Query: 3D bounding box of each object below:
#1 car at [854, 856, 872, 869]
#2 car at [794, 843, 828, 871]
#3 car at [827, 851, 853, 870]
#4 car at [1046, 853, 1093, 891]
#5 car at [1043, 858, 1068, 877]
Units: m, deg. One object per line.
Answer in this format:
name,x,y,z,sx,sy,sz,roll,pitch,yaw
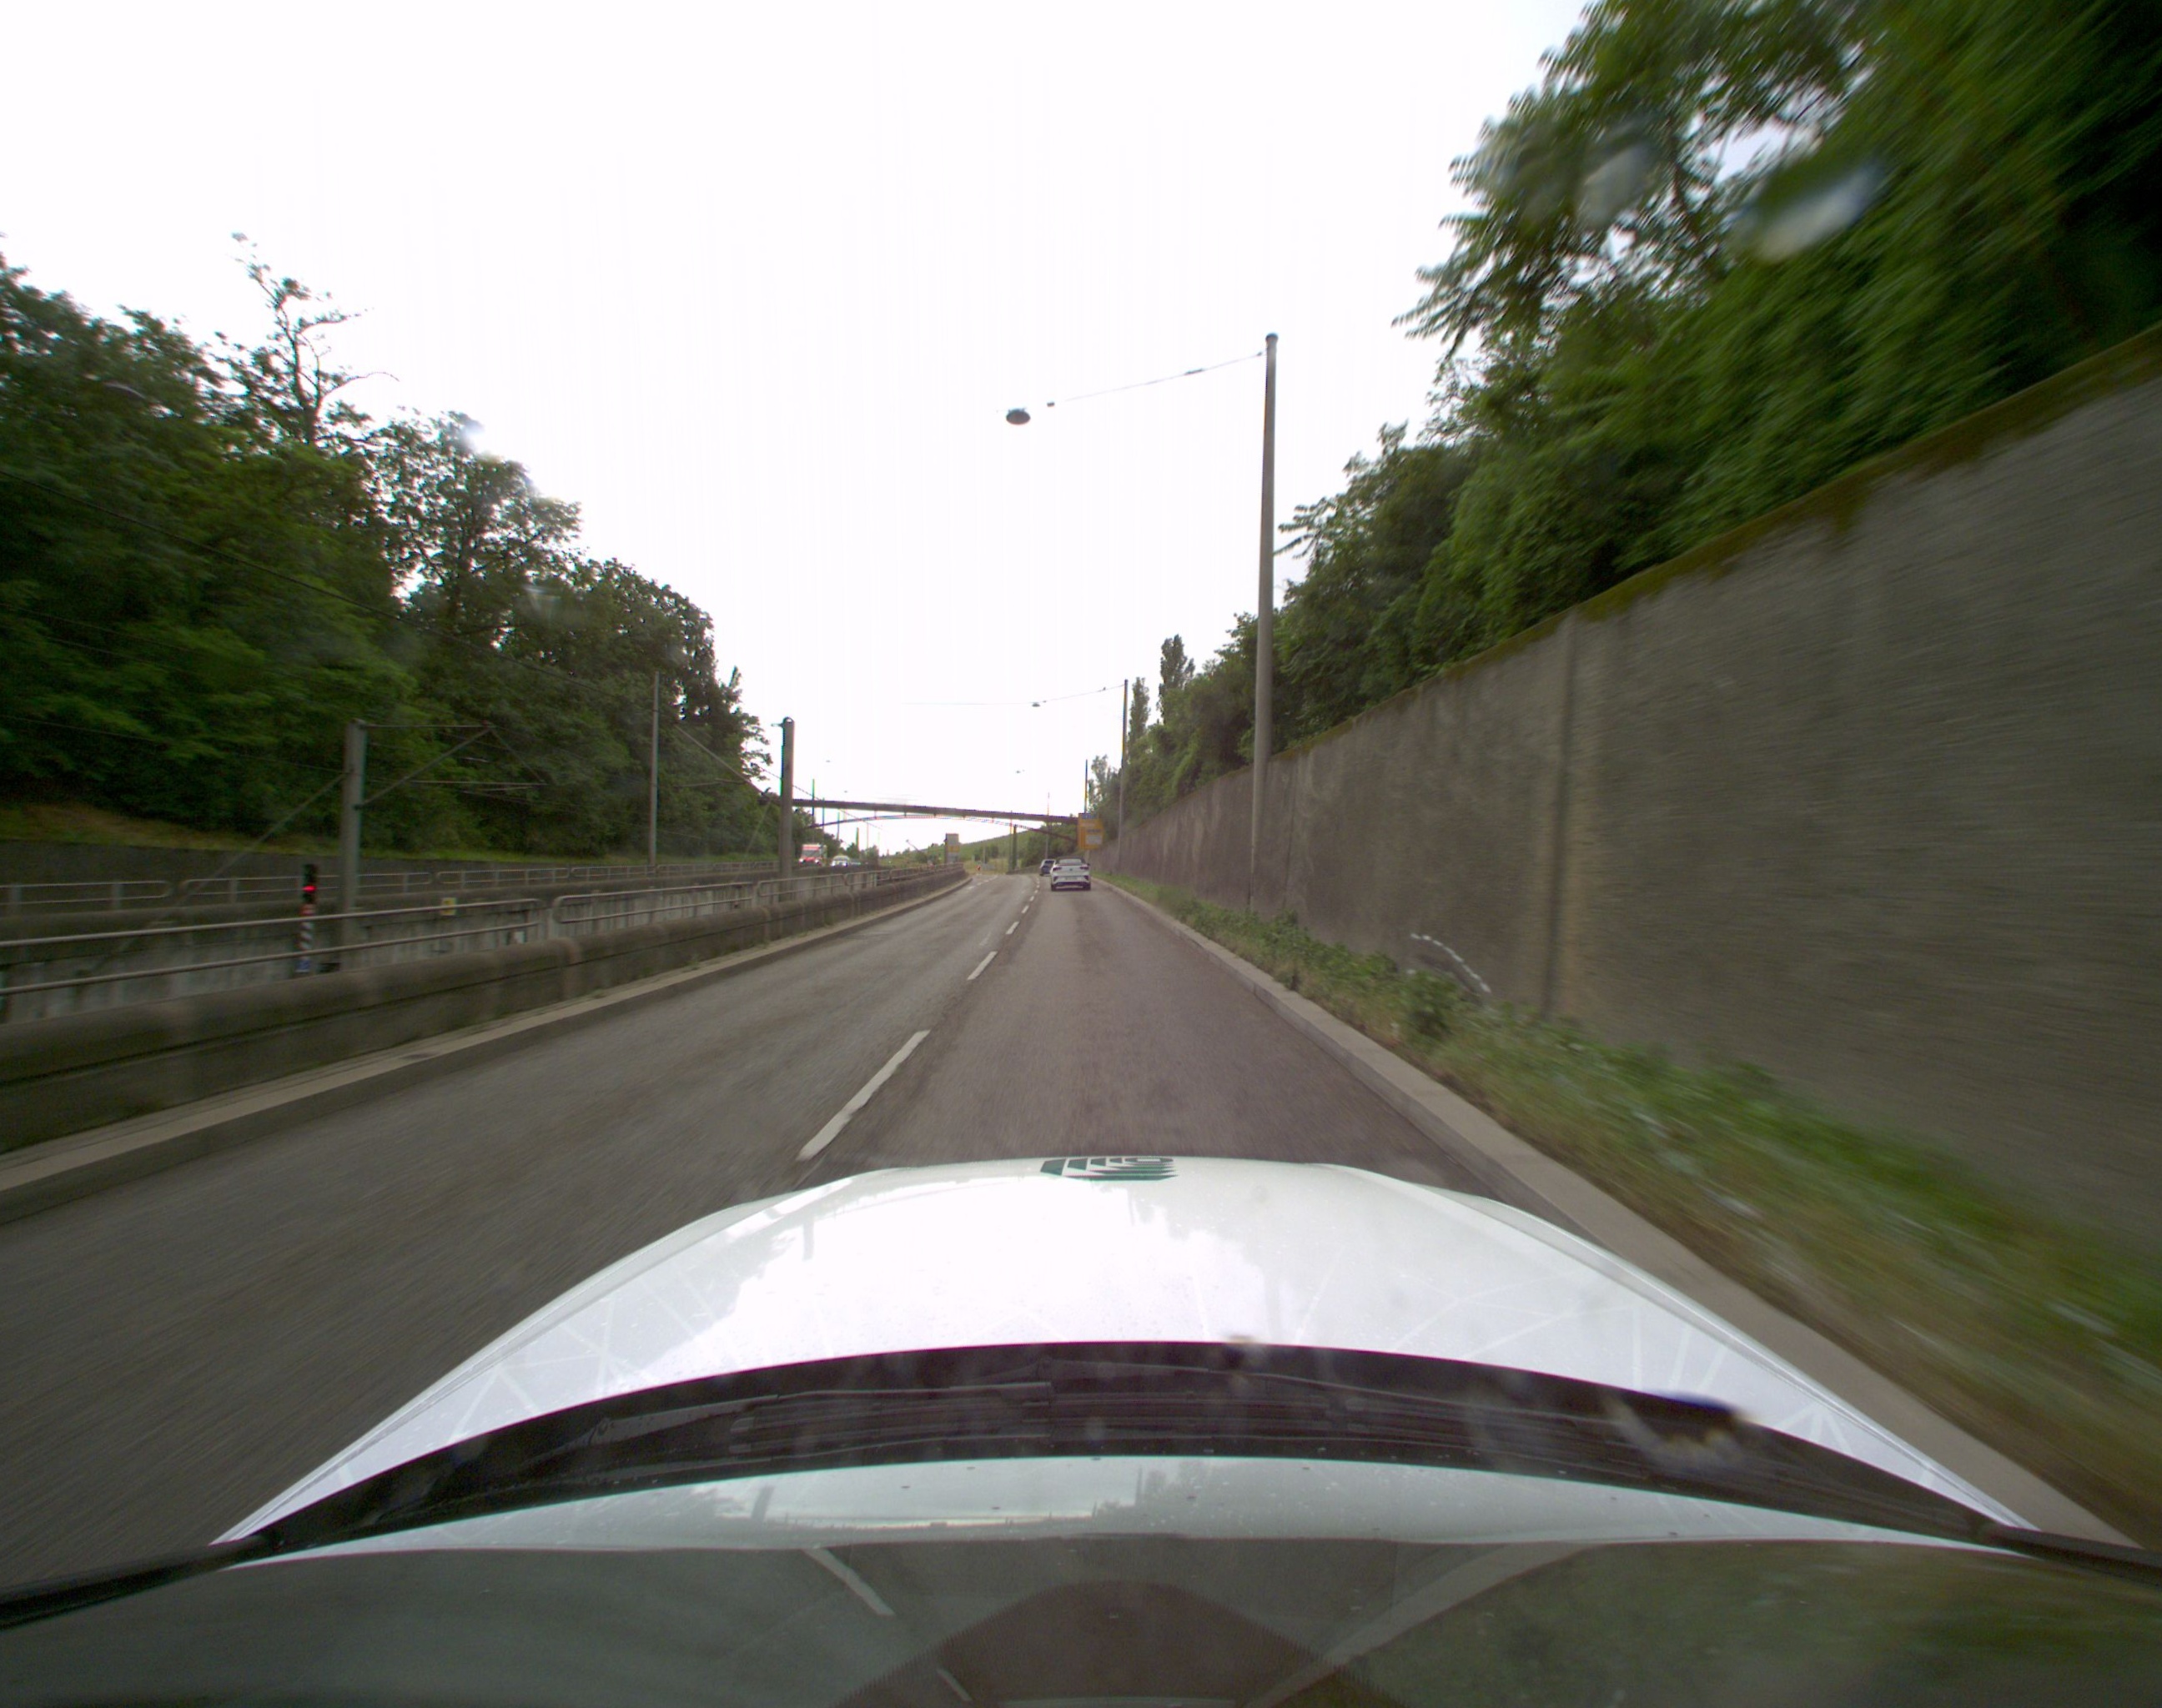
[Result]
car,-31.008,1.204,115.915,1.961,1.750,4.126,-1,-1,-10
car,-27.354,0.315,82.822,2.182,2.734,6.325,-1,-1,-9
car,-23.279,0.636,78.724,1.817,1.704,4.098,-1,-1,-9
car,-0.538,0.777,37.314,1.990,1.578,4.123,-2,0,-2
car,-2.220,1.167,71.453,1.919,1.599,4.062,-2,0,1
